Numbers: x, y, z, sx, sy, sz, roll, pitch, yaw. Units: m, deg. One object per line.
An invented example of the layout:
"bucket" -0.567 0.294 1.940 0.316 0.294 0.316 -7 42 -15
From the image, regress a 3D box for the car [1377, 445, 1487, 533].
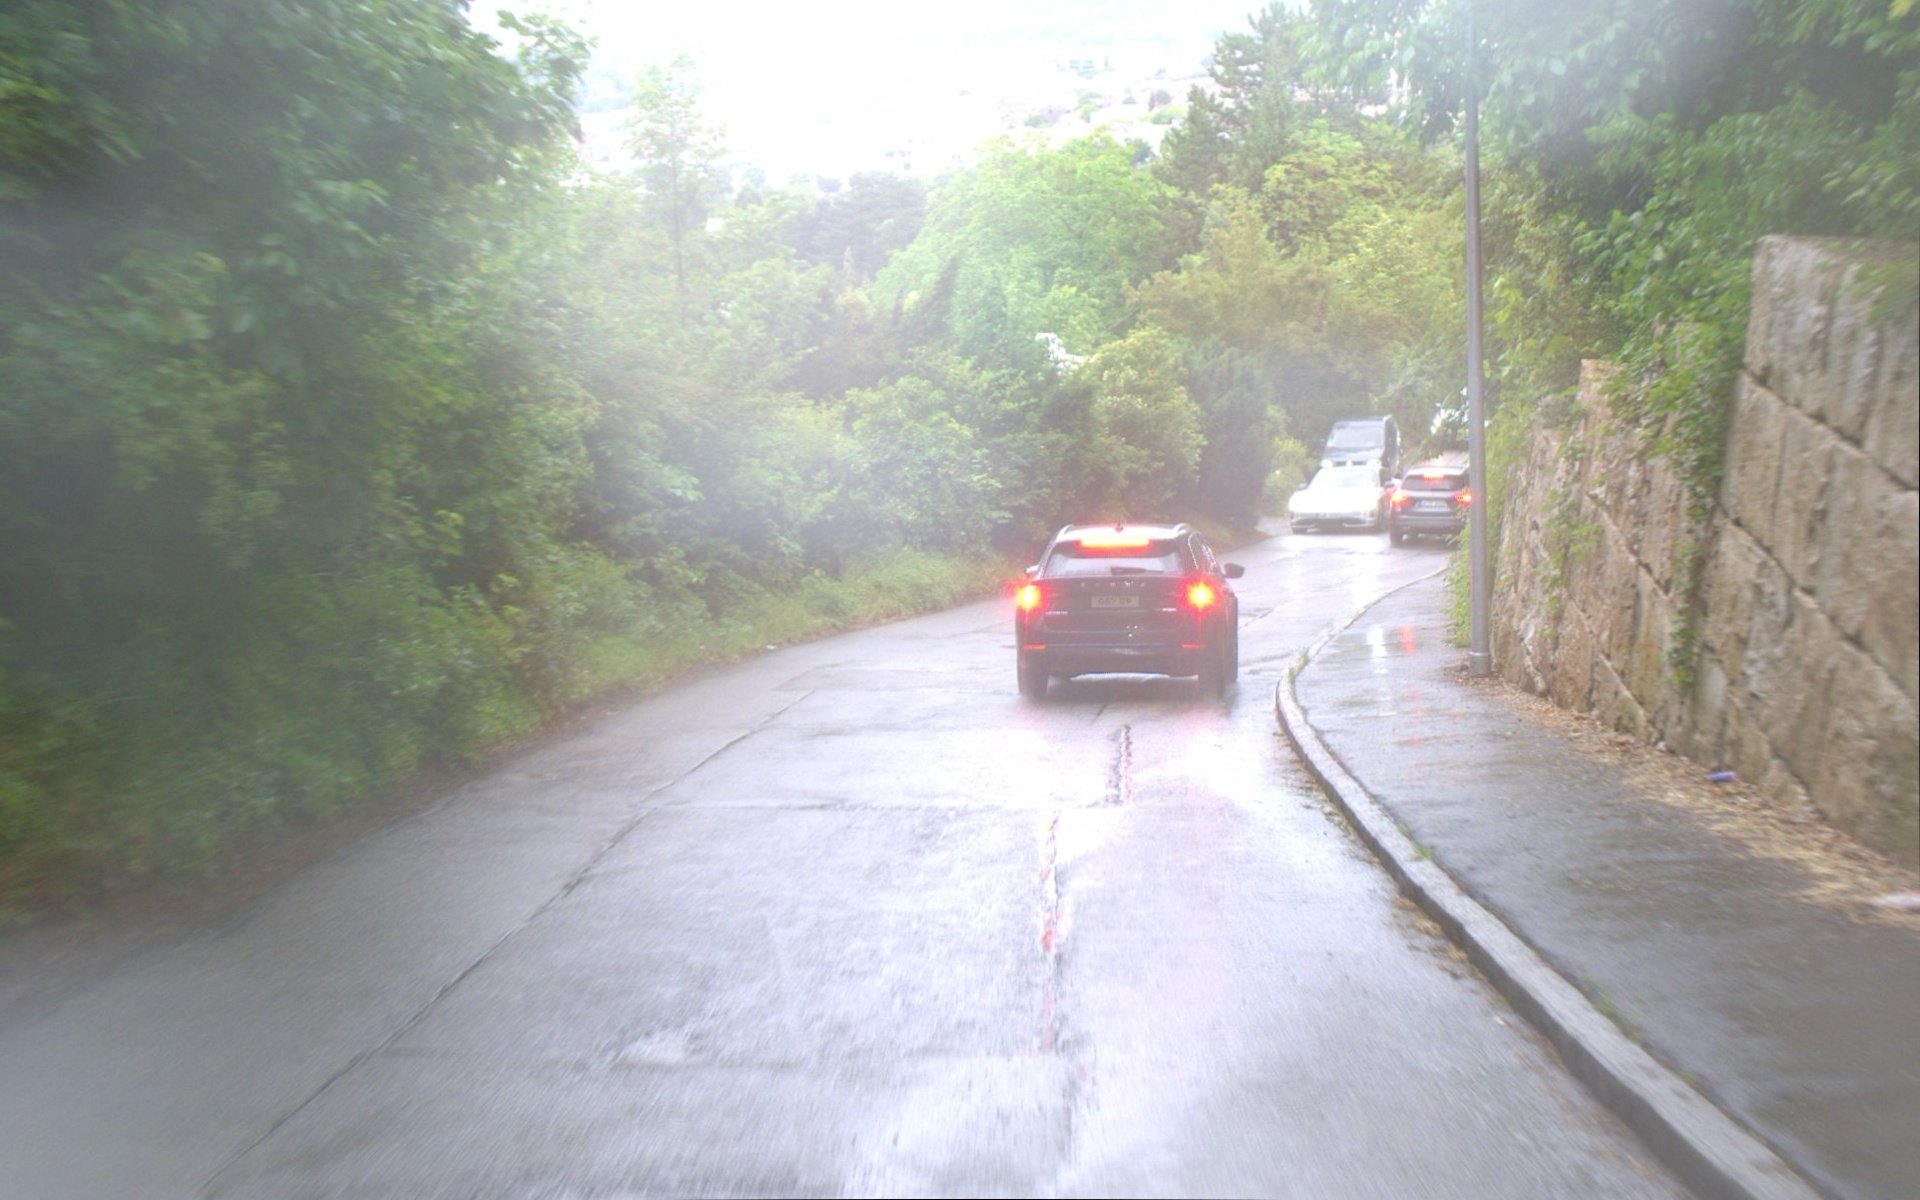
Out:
"car" 9.696 -2.260 70.446 1.864 1.737 3.998 1 2 13

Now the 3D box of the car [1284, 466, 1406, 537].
"car" 8.515 -2.169 75.798 1.942 1.517 4.576 1 2 16

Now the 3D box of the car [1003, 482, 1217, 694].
"car" 1.373 -0.159 29.993 1.700 1.445 4.001 -1 5 5

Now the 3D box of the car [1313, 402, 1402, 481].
"car" 10.322 -4.124 89.097 1.690 1.776 4.231 0 6 15
